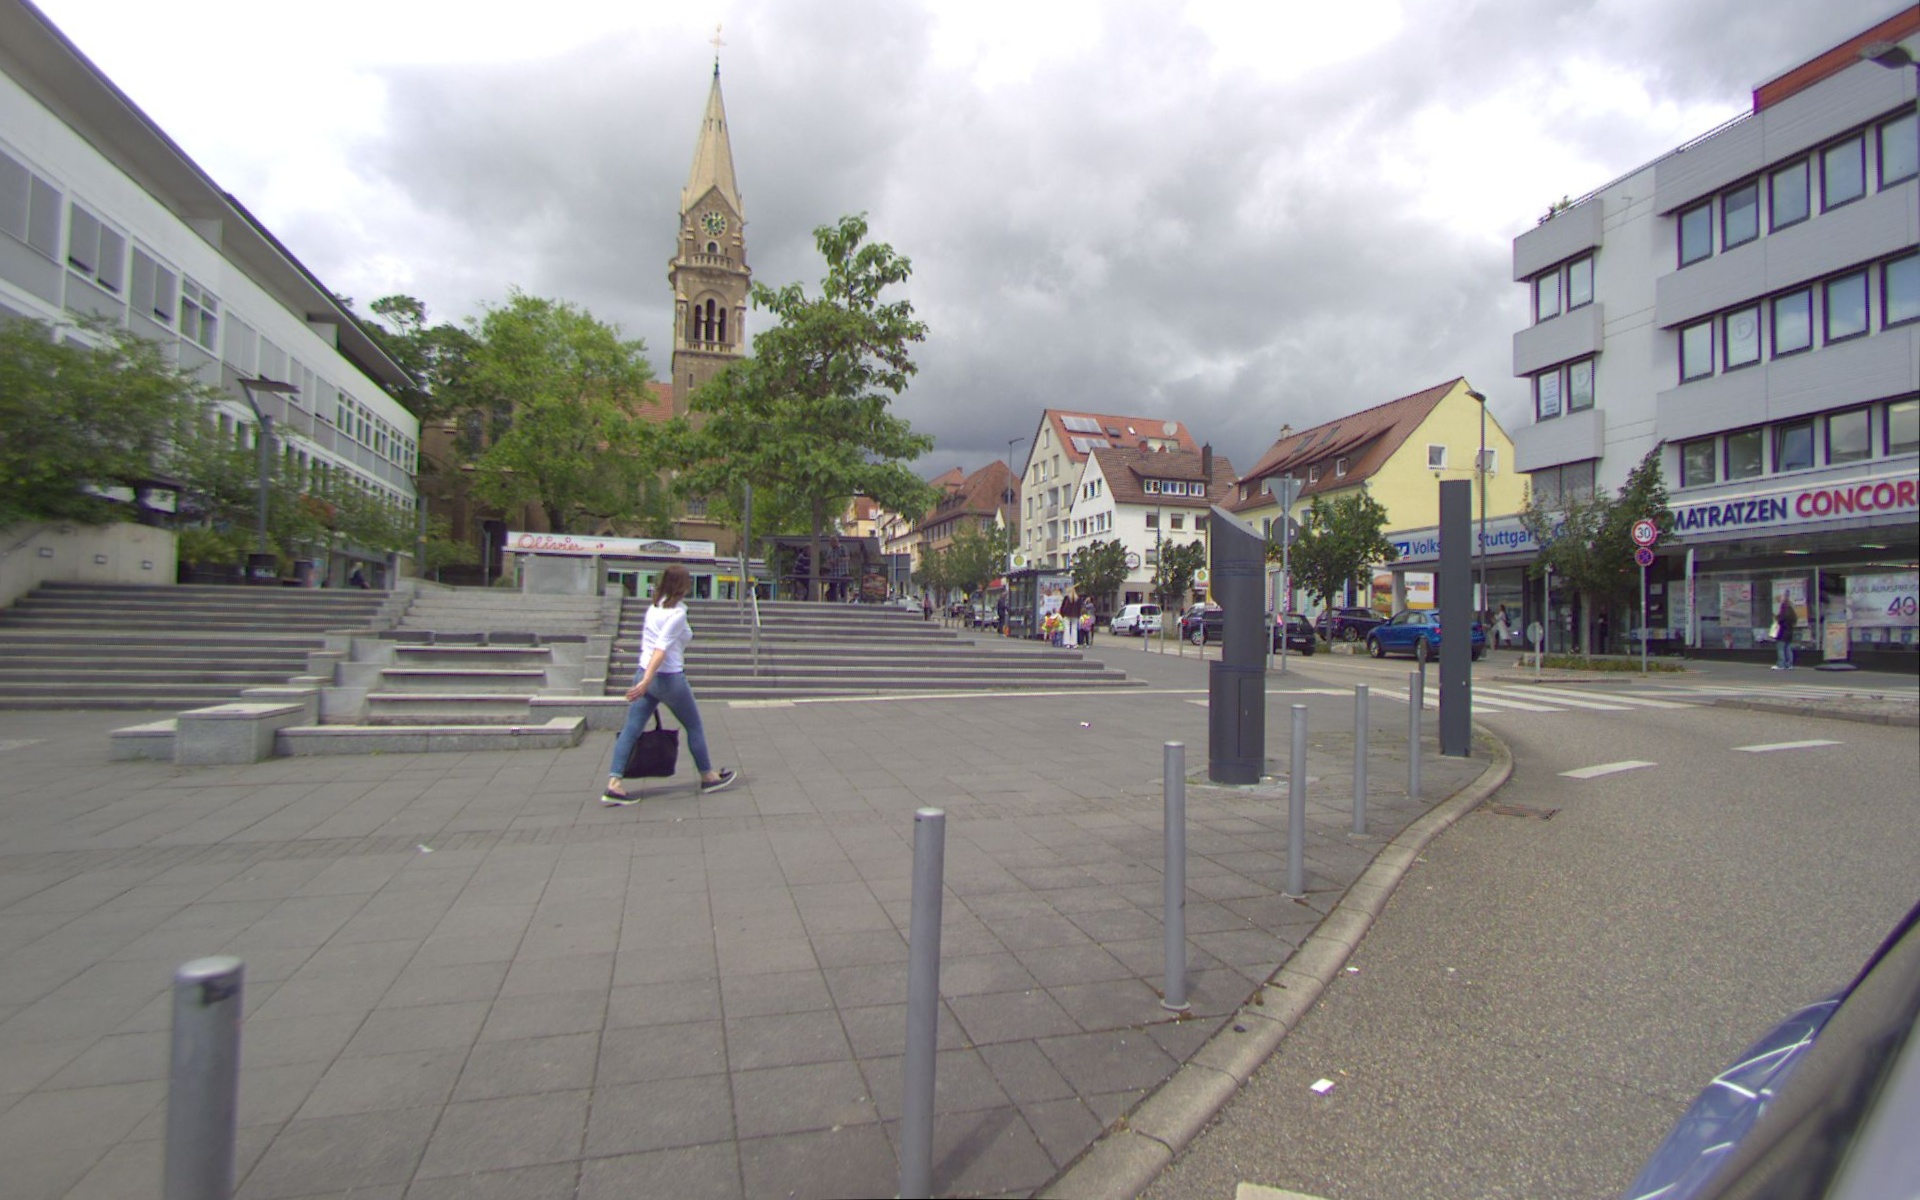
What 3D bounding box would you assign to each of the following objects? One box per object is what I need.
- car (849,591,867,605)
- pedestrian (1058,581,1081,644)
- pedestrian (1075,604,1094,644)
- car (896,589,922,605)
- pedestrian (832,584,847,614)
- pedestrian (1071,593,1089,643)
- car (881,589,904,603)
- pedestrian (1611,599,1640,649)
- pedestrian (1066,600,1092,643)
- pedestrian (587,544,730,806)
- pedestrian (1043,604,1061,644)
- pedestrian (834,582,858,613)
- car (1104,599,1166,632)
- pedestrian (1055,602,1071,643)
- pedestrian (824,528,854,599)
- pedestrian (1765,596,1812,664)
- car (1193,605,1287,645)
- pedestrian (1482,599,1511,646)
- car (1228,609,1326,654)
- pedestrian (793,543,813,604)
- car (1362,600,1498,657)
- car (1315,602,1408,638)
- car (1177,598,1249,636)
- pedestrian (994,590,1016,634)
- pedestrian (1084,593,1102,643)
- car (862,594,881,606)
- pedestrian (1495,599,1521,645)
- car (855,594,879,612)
[{"bbox_3d":[-13.817,-0.291,137.320,1.696,1.700,4.001,1,1,-17],"label":"car"},{"bbox_3d":[3.256,0.374,30.091,0.530,1.846,0.436,3,-1,-6],"label":"pedestrian"},{"bbox_3d":[3.789,0.732,30.759,0.467,1.187,0.391,3,-1,-2],"label":"pedestrian"},{"bbox_3d":[-5.568,-0.330,110.165,1.694,1.593,4.465,1,1,-18],"label":"car"},{"bbox_3d":[-4.946,-0.033,41.547,0.558,1.243,0.566,0,-1,-1],"label":"pedestrian"},{"bbox_3d":[3.727,0.562,31.408,0.382,1.536,0.390,3,-2,-18],"label":"pedestrian"},{"bbox_3d":[-7.817,-0.483,116.876,1.634,1.545,3.973,0,2,-18],"label":"car"},{"bbox_3d":[23.502,0.843,35.745,0.631,1.727,0.587,3,-4,-20],"label":"pedestrian"},{"bbox_3d":[3.808,0.678,32.397,0.426,1.320,0.598,4,-1,-44],"label":"pedestrian"},{"bbox_3d":[-2.188,0.511,7.352,0.762,1.768,0.706,1,-1,-39],"label":"pedestrian"},{"bbox_3d":[2.731,0.700,30.089,0.432,1.163,0.383,3,-1,1],"label":"pedestrian"},{"bbox_3d":[-4.782,-0.093,42.490,0.761,1.285,0.671,0,-1,21],"label":"pedestrian"},{"bbox_3d":[9.417,0.818,54.742,1.627,1.693,4.359,0,0,-15],"label":"car"},{"bbox_3d":[3.132,0.681,30.761,0.385,1.214,0.508,2,-1,14],"label":"pedestrian"},{"bbox_3d":[-2.699,-0.805,22.610,0.494,1.528,0.454,2,-2,-31],"label":"pedestrian"},{"bbox_3d":[19.995,0.712,24.426,0.576,1.608,0.640,0,-1,-16],"label":"pedestrian"},{"bbox_3d":[11.859,1.054,43.090,3.677,1.543,1.890,1,2,12],"label":"car"},{"bbox_3d":[18.671,0.775,35.204,0.631,1.586,0.587,2,-2,-11],"label":"pedestrian"},{"bbox_3d":[11.082,1.055,35.713,1.669,1.437,4.125,0,0,-8],"label":"car"},{"bbox_3d":[-3.441,-0.567,22.190,0.357,1.302,0.642,1,-2,-6],"label":"pedestrian"},{"bbox_3d":[14.562,0.846,31.658,1.665,1.620,4.337,-2,0,-9],"label":"car"},{"bbox_3d":[18.180,0.903,45.896,3.563,1.578,1.671,0,0,-12],"label":"car"},{"bbox_3d":[13.009,0.840,52.404,1.725,1.837,4.485,0,0,-13],"label":"car"},{"bbox_3d":[1.746,0.454,38.997,0.786,1.658,0.686,1,-1,3],"label":"pedestrian"},{"bbox_3d":[4.461,0.599,33.917,0.385,1.640,0.464,2,-2,30],"label":"pedestrian"},{"bbox_3d":[-11.444,-0.025,130.219,1.696,1.449,3.511,1,1,-17],"label":"car"},{"bbox_3d":[19.252,0.755,35.561,0.501,1.586,0.587,2,-2,-10],"label":"pedestrian"},{"bbox_3d":[-8.357,0.258,90.870,1.490,1.449,3.511,1,1,-17],"label":"car"}]
